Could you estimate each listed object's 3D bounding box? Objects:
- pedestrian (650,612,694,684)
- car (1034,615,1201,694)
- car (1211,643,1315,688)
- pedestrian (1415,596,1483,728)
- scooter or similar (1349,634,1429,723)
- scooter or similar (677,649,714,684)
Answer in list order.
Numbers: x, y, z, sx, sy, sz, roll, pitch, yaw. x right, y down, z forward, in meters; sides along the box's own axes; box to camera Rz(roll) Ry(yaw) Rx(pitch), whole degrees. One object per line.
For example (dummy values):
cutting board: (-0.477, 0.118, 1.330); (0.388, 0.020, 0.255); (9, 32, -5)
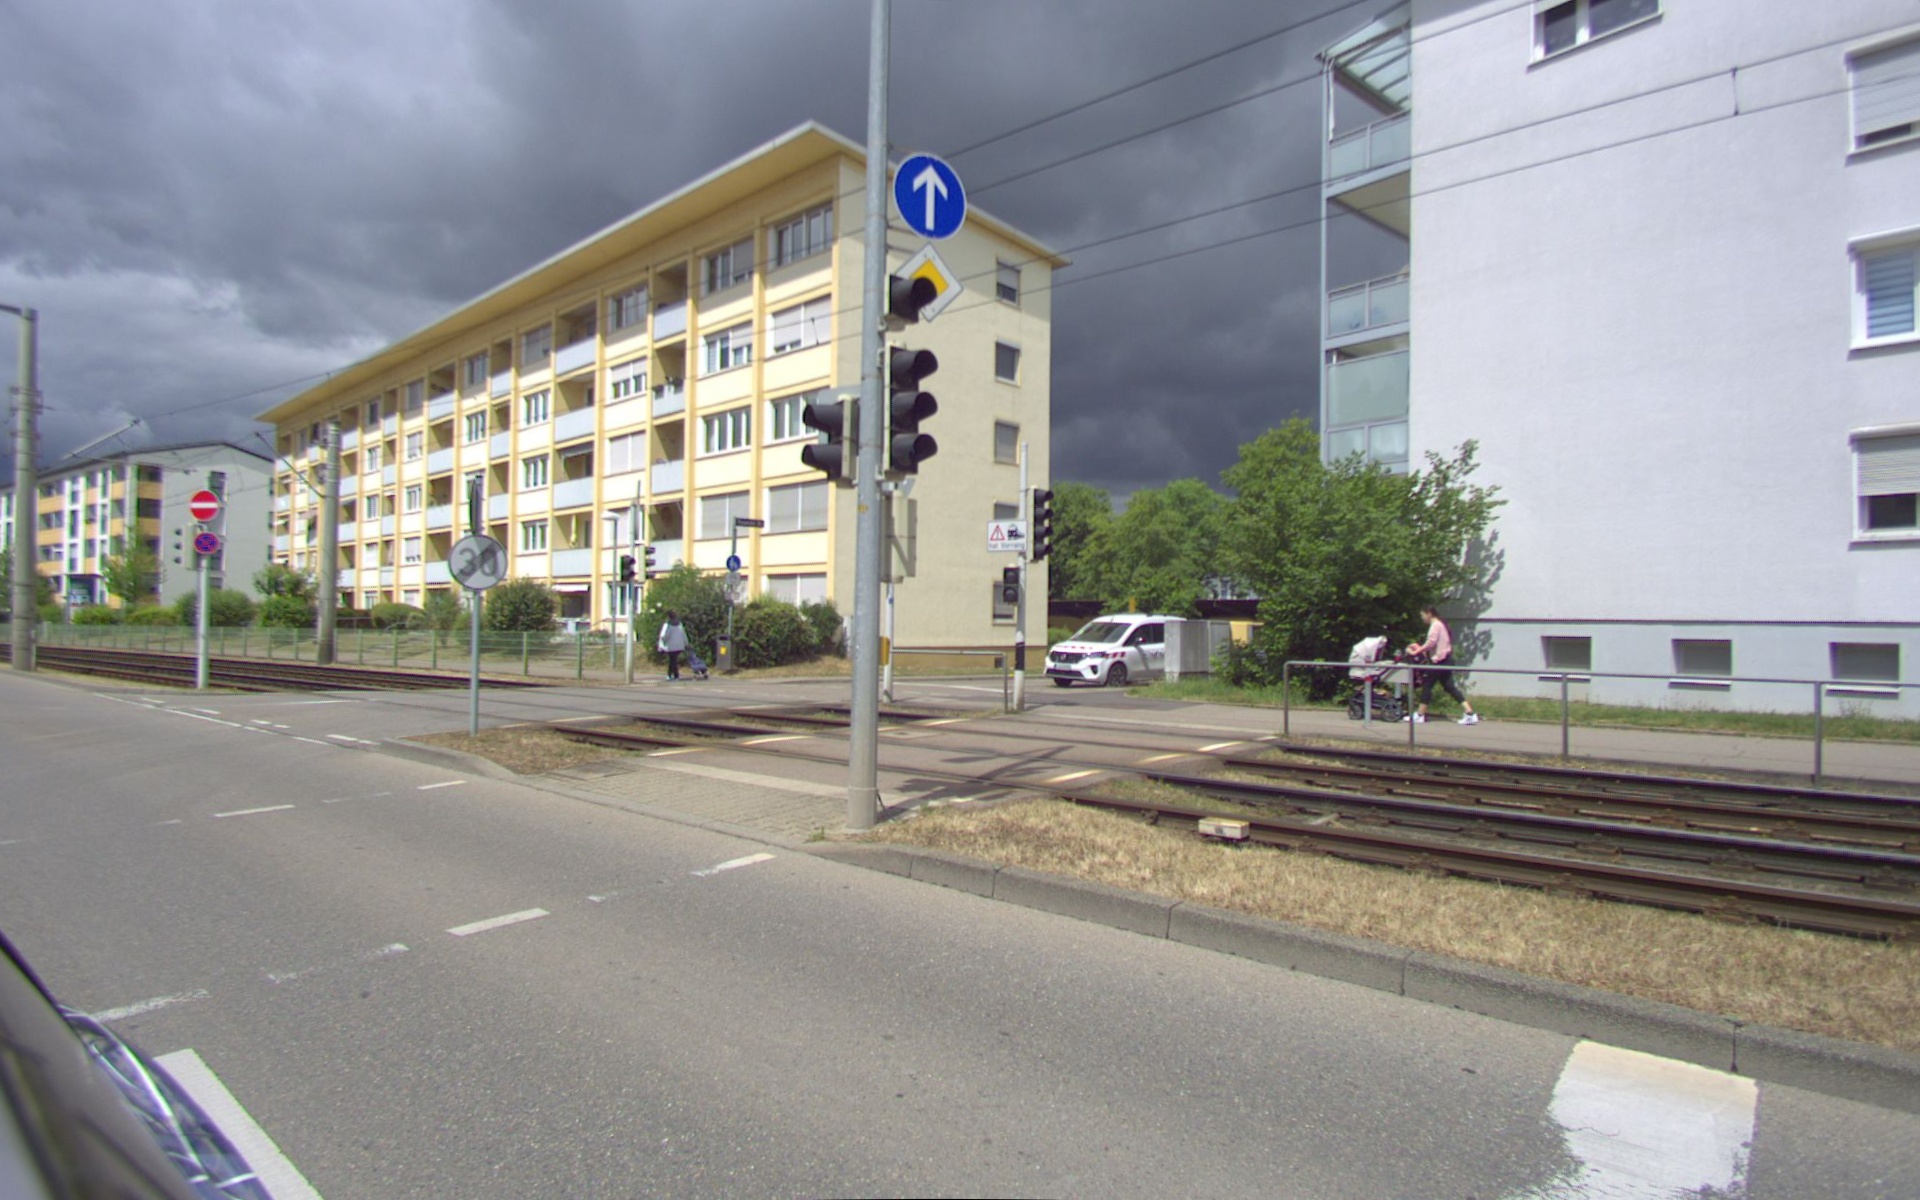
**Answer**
pedestrian: (-6.599, 1.095, 23.205); (0.773, 1.620, 0.598); (-1, -3, 40)
car: (3.905, 1.269, 24.653); (4.226, 1.742, 1.812); (2, -2, -43)
car: (10.825, 2.291, 36.068); (3.941, 1.438, 1.923); (2, -2, -45)
pedestrian: (6.558, 0.803, 13.572); (0.679, 1.705, 0.638); (-1, -1, 41)
scooter or similar: (5.968, 1.067, 14.086); (0.891, 1.172, 0.602); (-1, -1, 41)
scooter or similar: (-6.141, 1.528, 23.492); (0.665, 0.779, 0.527); (-1, -3, 40)
